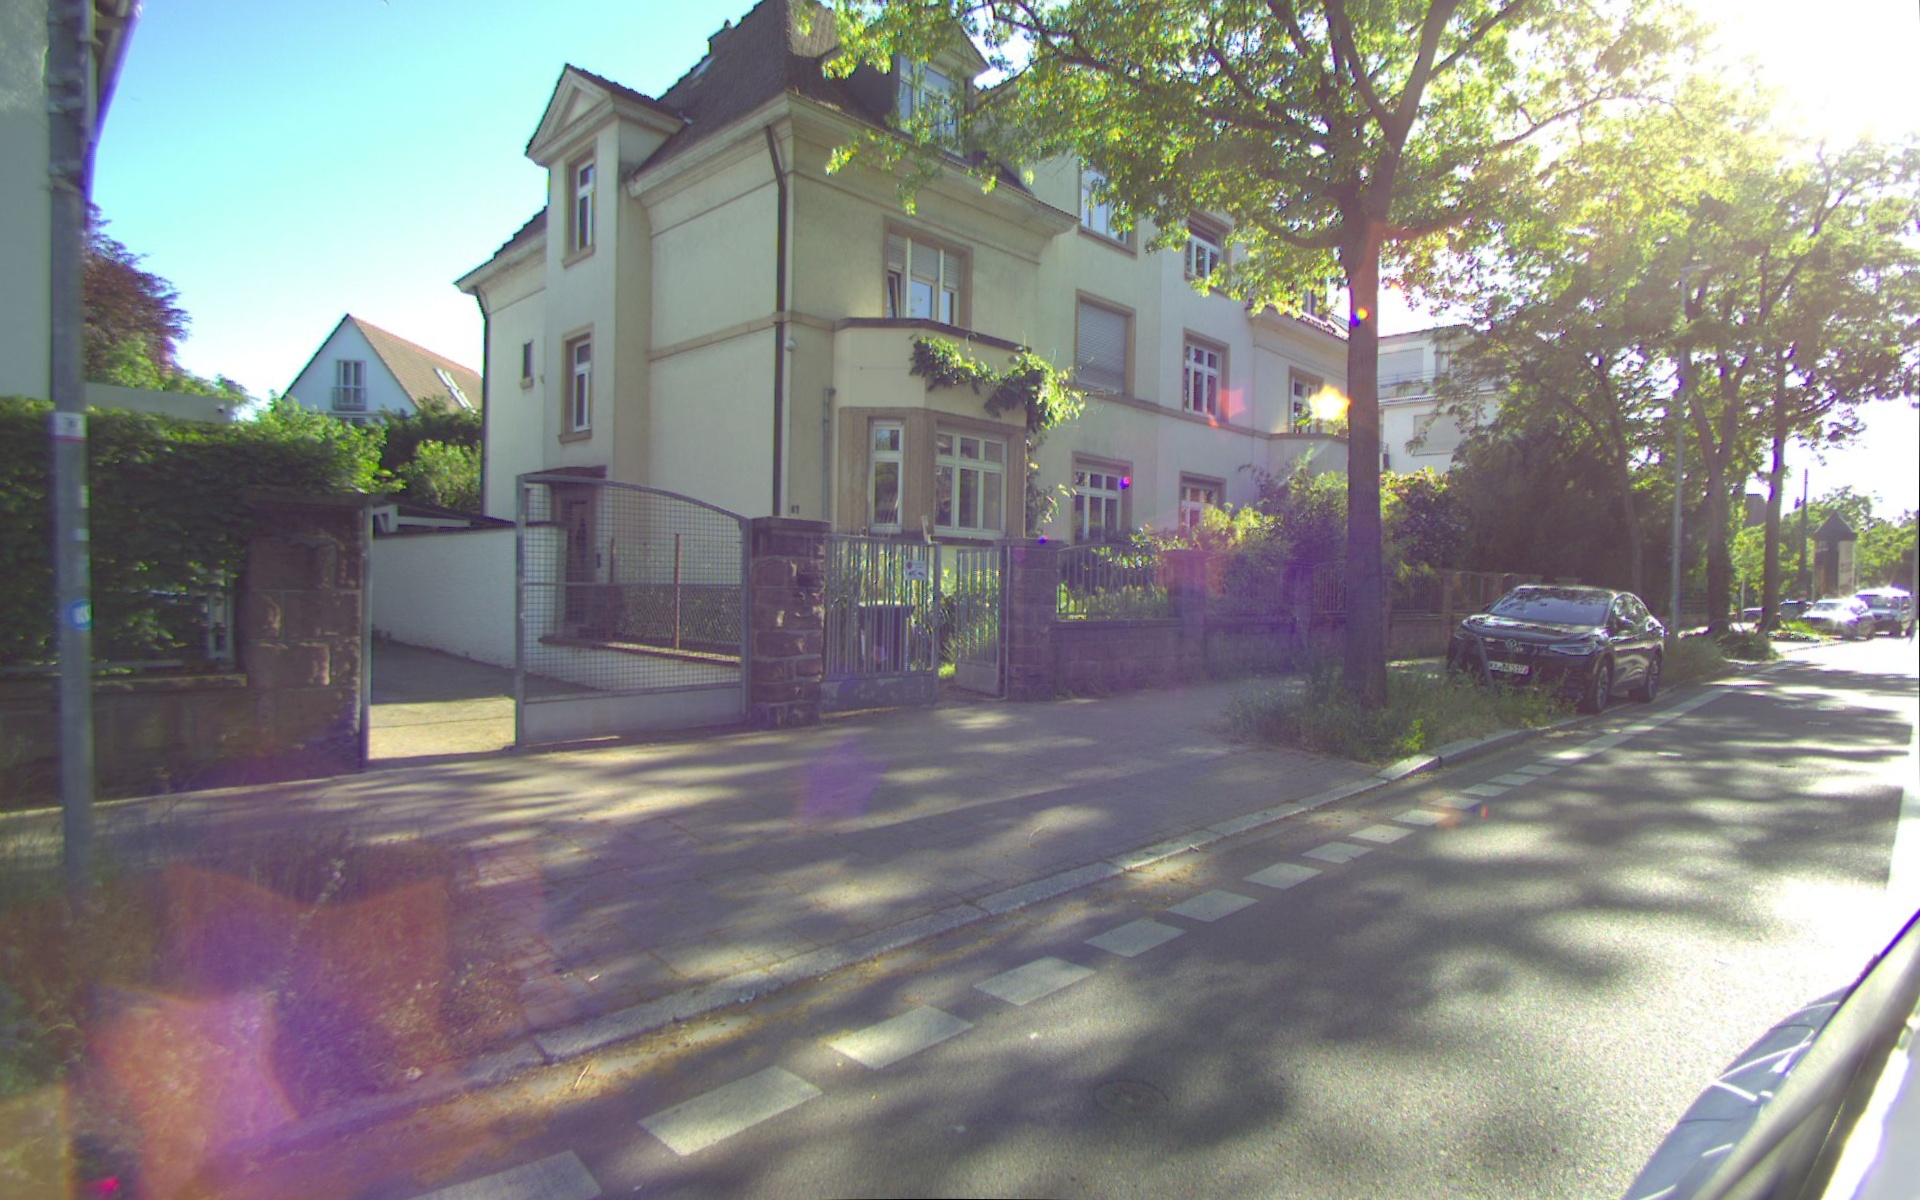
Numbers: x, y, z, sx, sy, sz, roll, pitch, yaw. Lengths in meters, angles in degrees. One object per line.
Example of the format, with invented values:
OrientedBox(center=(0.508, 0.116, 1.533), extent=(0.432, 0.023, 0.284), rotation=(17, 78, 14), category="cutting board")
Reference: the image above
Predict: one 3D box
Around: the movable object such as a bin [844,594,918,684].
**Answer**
OrientedBox(center=(-1.000, 0.467, 12.706), extent=(0.712, 1.068, 0.969), rotation=(0, 1, -18), category="movable object such as a bin")

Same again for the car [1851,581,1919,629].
OrientedBox(center=(37.791, 0.145, 41.031), extent=(4.173, 1.852, 1.903), rotation=(-1, 1, -40), category="car")

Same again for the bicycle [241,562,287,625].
OrientedBox(center=(-13.034, -0.136, 18.941), extent=(0.512, 1.136, 1.464), rotation=(0, 1, -43), category="bicycle")

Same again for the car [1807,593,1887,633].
OrientedBox(center=(32.719, 0.453, 37.295), extent=(3.849, 1.356, 1.718), rotation=(-1, 1, -41), category="car")

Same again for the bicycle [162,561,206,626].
OrientedBox(center=(-13.933, -0.125, 18.159), extent=(0.512, 1.136, 1.464), rotation=(0, 1, -43), category="bicycle")

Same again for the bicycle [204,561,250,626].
OrientedBox(center=(-13.447, -0.130, 18.557), extent=(0.512, 1.136, 1.464), rotation=(0, 1, -43), category="bicycle")

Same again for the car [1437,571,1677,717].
OrientedBox(center=(8.579, 0.497, 14.399), extent=(4.103, 1.765, 1.994), rotation=(-1, 1, -45), category="car")

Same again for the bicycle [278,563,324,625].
OrientedBox(center=(-12.561, -0.119, 19.277), extent=(0.512, 1.136, 1.464), rotation=(0, 1, -43), category="bicycle")

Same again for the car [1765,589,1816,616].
OrientedBox(center=(47.687, 0.113, 58.071), extent=(3.932, 1.460, 1.739), rotation=(-1, 1, -43), category="car")
